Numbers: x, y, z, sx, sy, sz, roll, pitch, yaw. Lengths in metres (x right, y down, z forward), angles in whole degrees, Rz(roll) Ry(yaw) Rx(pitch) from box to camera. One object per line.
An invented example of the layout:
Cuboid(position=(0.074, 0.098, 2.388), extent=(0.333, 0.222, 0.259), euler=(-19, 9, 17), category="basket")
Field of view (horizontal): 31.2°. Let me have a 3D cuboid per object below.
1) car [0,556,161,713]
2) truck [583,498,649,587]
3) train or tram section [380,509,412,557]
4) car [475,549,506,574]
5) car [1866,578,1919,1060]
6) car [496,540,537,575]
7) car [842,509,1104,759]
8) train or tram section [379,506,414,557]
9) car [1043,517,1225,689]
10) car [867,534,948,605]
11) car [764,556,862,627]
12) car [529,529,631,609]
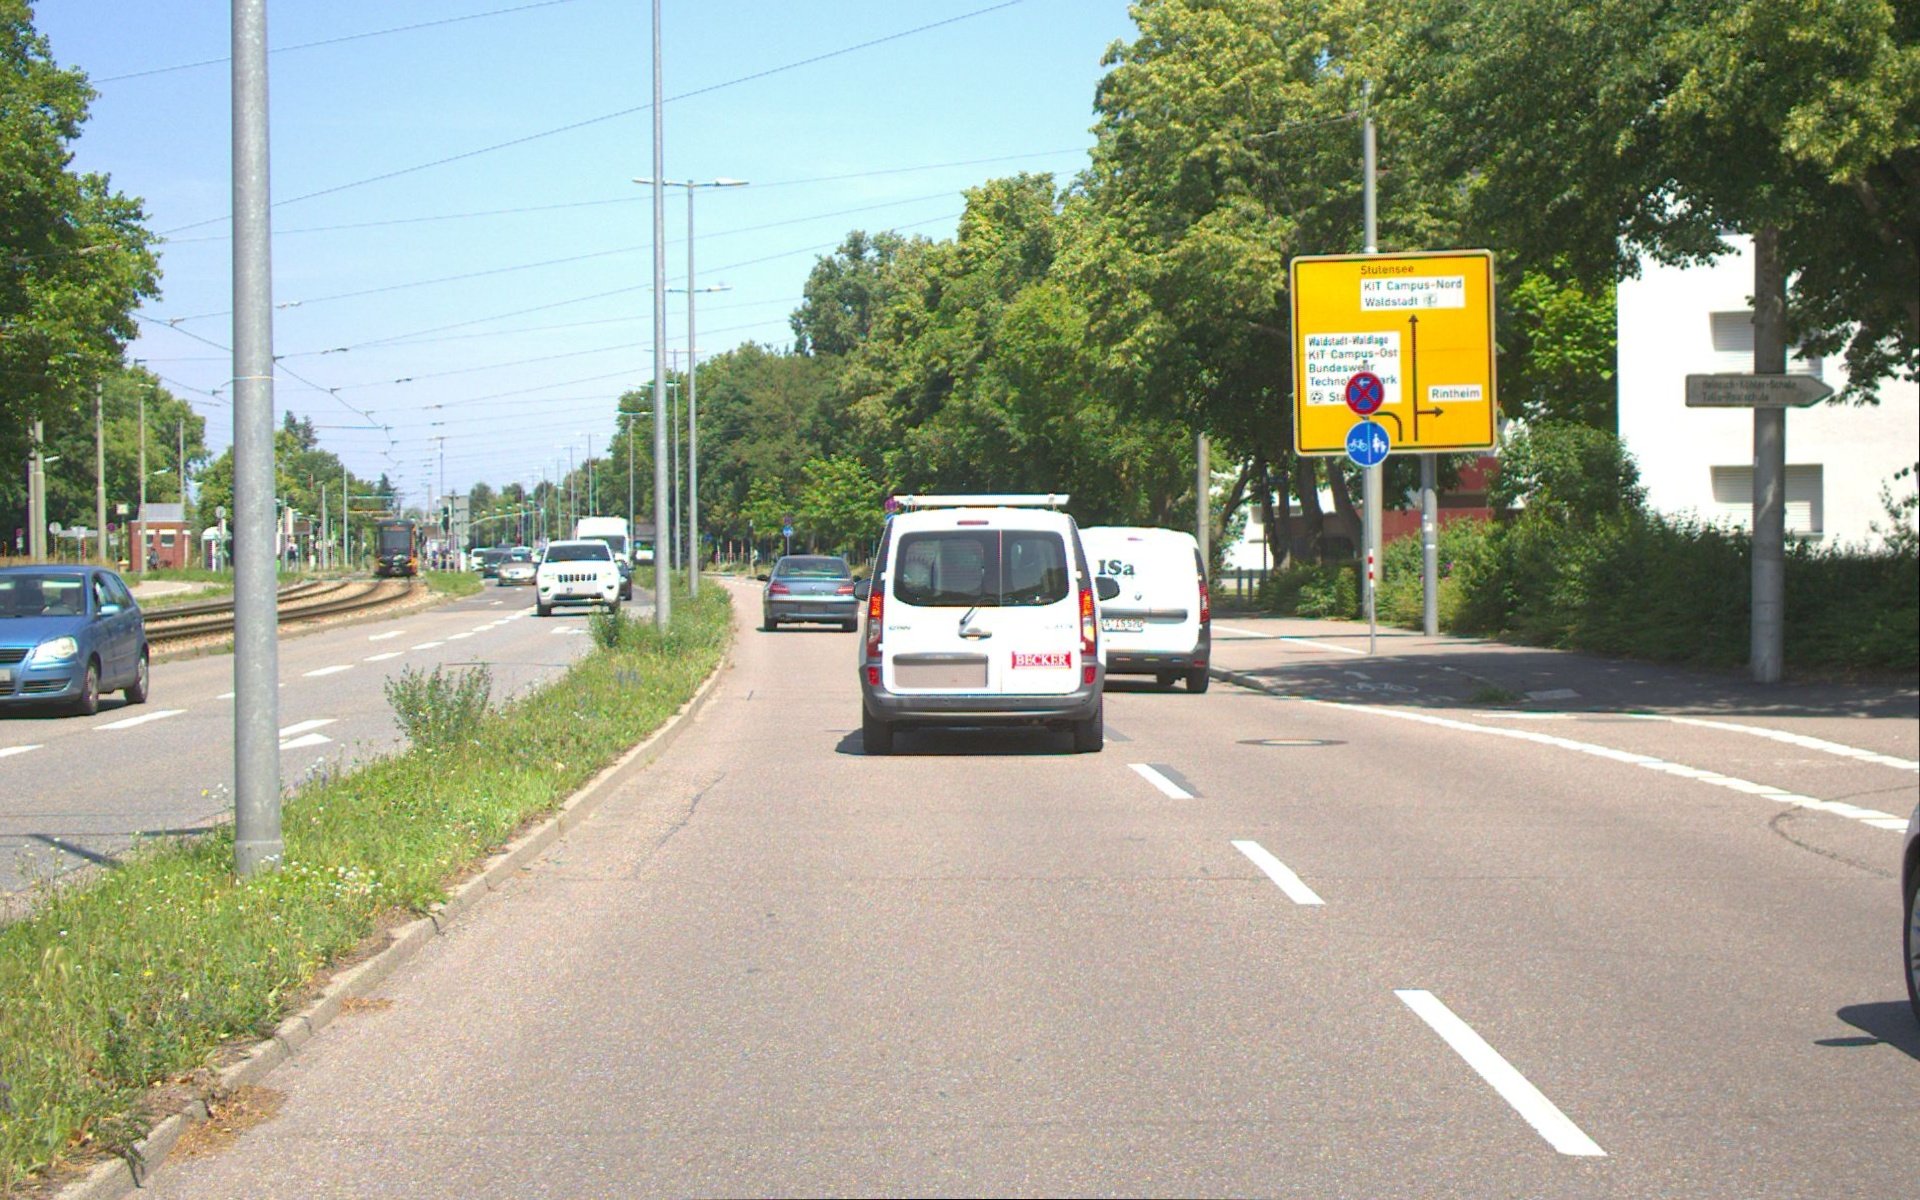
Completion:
Cuboid(position=(-9.156, 0.309, 34.013), extent=(1.697, 1.434, 4.001), euler=(-1, 1, -3), category="car")
Cuboid(position=(-12.736, -2.150, 127.430), extent=(1.993, 3.202, 5.312), euler=(0, 1, -1), category="truck")
Cuboid(position=(-38.361, -4.511, 233.436), extent=(1.993, 3.076, 19.505), euler=(1, 1, -10), category="train or tram section")
Cuboid(position=(-29.750, -2.458, 217.821), extent=(1.746, 1.561, 4.001), euler=(1, 1, -5), category="car")
Cuboid(position=(3.759, 0.715, 9.192), extent=(1.609, 1.442, 3.436), euler=(1, 2, -2), category="car")
Cuboid(position=(-20.628, -1.969, 160.043), extent=(1.746, 1.561, 4.001), euler=(1, 1, -5), category="car")
Cuboid(position=(0.086, 0.191, 26.341), extent=(1.821, 1.733, 4.396), euler=(1, 1, 0), category="car")
Cuboid(position=(-35.412, -4.266, 215.846), extent=(1.993, 3.076, 16.172), euler=(1, 1, -10), category="train or tram section")
Cuboid(position=(1.893, -0.001, 38.519), extent=(1.727, 1.782, 4.065), euler=(1, 1, -1), category="car")
Cuboid(position=(-1.220, -0.751, 81.112), extent=(1.835, 1.563, 4.000), euler=(1, 2, 0), category="car")
Cuboid(position=(-2.668, -0.178, 63.142), extent=(1.692, 1.211, 3.590), euler=(1, 1, -1), category="car")
Cuboid(position=(-8.853, -0.749, 80.304), extent=(1.993, 1.809, 4.000), euler=(0, 1, -1), category="car")
